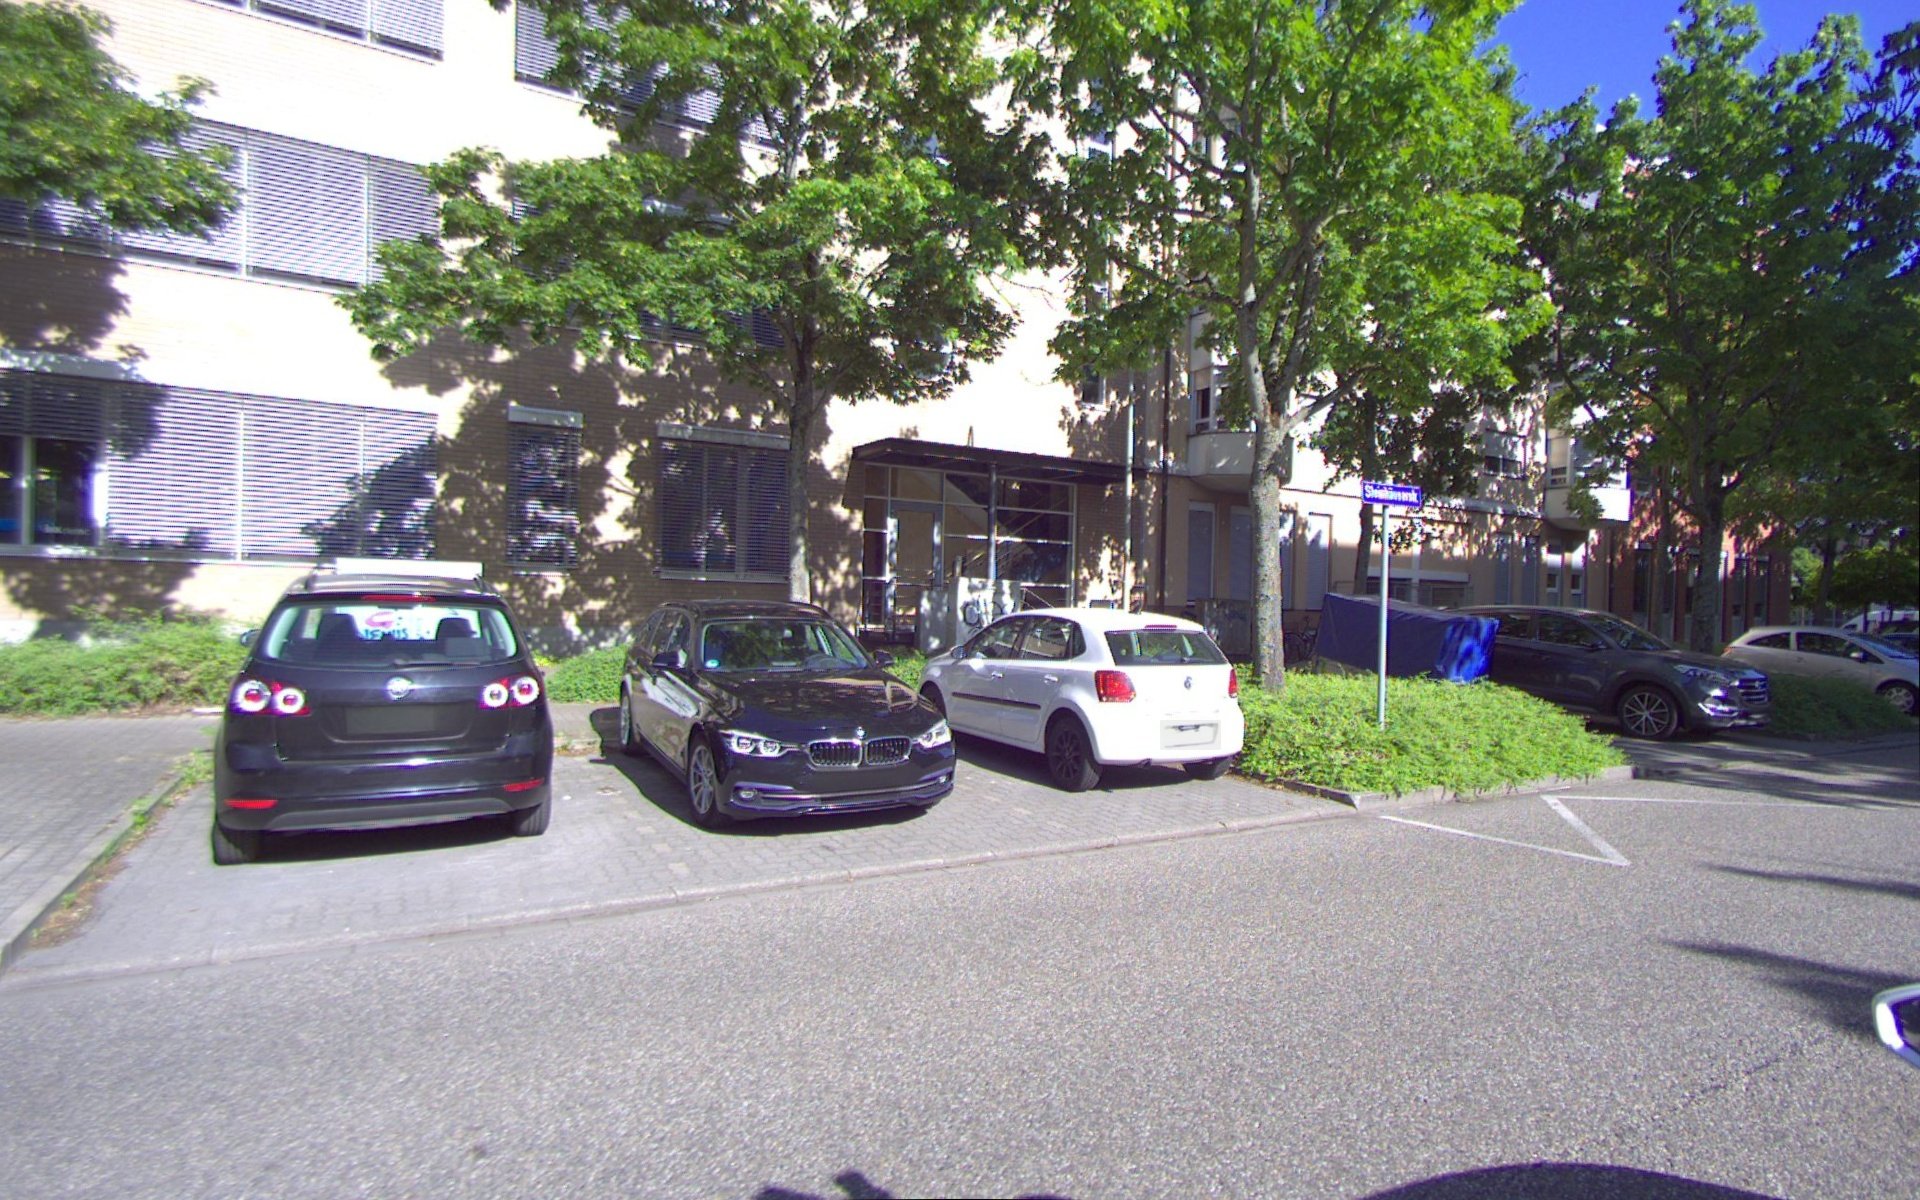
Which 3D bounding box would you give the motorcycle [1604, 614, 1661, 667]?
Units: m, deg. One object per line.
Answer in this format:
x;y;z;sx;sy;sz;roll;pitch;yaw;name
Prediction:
21.249;1.275;31.722;2.086;1.612;0.710;1;0;-32;motorcycle

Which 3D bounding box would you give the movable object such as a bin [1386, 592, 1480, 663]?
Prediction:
12.622;0.709;26.853;1.643;1.820;1.592;1;0;-28;movable object such as a bin

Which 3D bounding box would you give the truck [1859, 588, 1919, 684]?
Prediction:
26.435;0.960;24.597;2.161;2.454;6.204;1;0;-29;truck

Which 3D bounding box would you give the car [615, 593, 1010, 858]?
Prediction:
-1.470;0.749;8.172;1.779;1.421;4.131;1;2;-30;car

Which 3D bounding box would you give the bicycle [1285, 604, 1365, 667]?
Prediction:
8.966;0.862;24.696;1.702;1.428;0.612;3;2;38;bicycle

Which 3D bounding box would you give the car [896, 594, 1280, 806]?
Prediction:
1.002;0.768;9.654;1.734;1.472;3.736;1;2;-30;car

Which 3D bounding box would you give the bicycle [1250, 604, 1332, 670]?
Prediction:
7.804;0.844;23.723;0.610;1.428;1.707;1;2;-43;bicycle

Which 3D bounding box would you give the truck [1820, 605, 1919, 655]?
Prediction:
54.129;1.724;58.178;2.549;2.740;6.072;1;-1;-31;truck

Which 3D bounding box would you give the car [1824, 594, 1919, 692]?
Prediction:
21.913;0.999;21.720;1.977;2.079;4.458;2;1;-31;car

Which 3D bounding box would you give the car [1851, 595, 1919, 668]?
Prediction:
23.680;0.809;23.273;1.977;1.684;4.086;2;1;-30;car

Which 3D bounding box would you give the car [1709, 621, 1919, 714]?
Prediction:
16.991;1.239;19.264;1.710;1.480;3.821;1;1;-26;car

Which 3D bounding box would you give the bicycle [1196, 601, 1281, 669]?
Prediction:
6.341;0.774;22.916;1.702;1.428;0.612;3;2;38;bicycle

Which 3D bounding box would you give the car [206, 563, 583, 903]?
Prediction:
-3.888;0.604;7.026;1.708;1.591;3.967;1;2;-30;car

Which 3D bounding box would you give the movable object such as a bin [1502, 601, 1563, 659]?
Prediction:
16.776;0.859;29.434;1.431;1.641;1.134;1;0;-42;movable object such as a bin

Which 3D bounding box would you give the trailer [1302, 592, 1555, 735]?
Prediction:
6.490;0.793;14.116;1.691;1.710;2.713;1;2;-29;trailer

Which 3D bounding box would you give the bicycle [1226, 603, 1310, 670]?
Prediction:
7.118;0.823;23.222;1.702;1.428;0.612;3;2;38;bicycle

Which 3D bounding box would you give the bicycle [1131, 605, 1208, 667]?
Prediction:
4.579;0.767;22.011;0.448;1.246;1.676;1;2;-42;bicycle

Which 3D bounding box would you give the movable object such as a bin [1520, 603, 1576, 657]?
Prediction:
17.748;0.898;30.307;1.235;1.583;1.134;1;0;-42;movable object such as a bin

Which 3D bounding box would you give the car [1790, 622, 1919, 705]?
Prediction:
19.522;1.315;20.342;1.810;1.512;3.762;1;1;-28;car

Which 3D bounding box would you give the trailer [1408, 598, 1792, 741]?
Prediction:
8.947;0.856;14.429;1.836;1.593;4.235;1;1;-33;trailer
